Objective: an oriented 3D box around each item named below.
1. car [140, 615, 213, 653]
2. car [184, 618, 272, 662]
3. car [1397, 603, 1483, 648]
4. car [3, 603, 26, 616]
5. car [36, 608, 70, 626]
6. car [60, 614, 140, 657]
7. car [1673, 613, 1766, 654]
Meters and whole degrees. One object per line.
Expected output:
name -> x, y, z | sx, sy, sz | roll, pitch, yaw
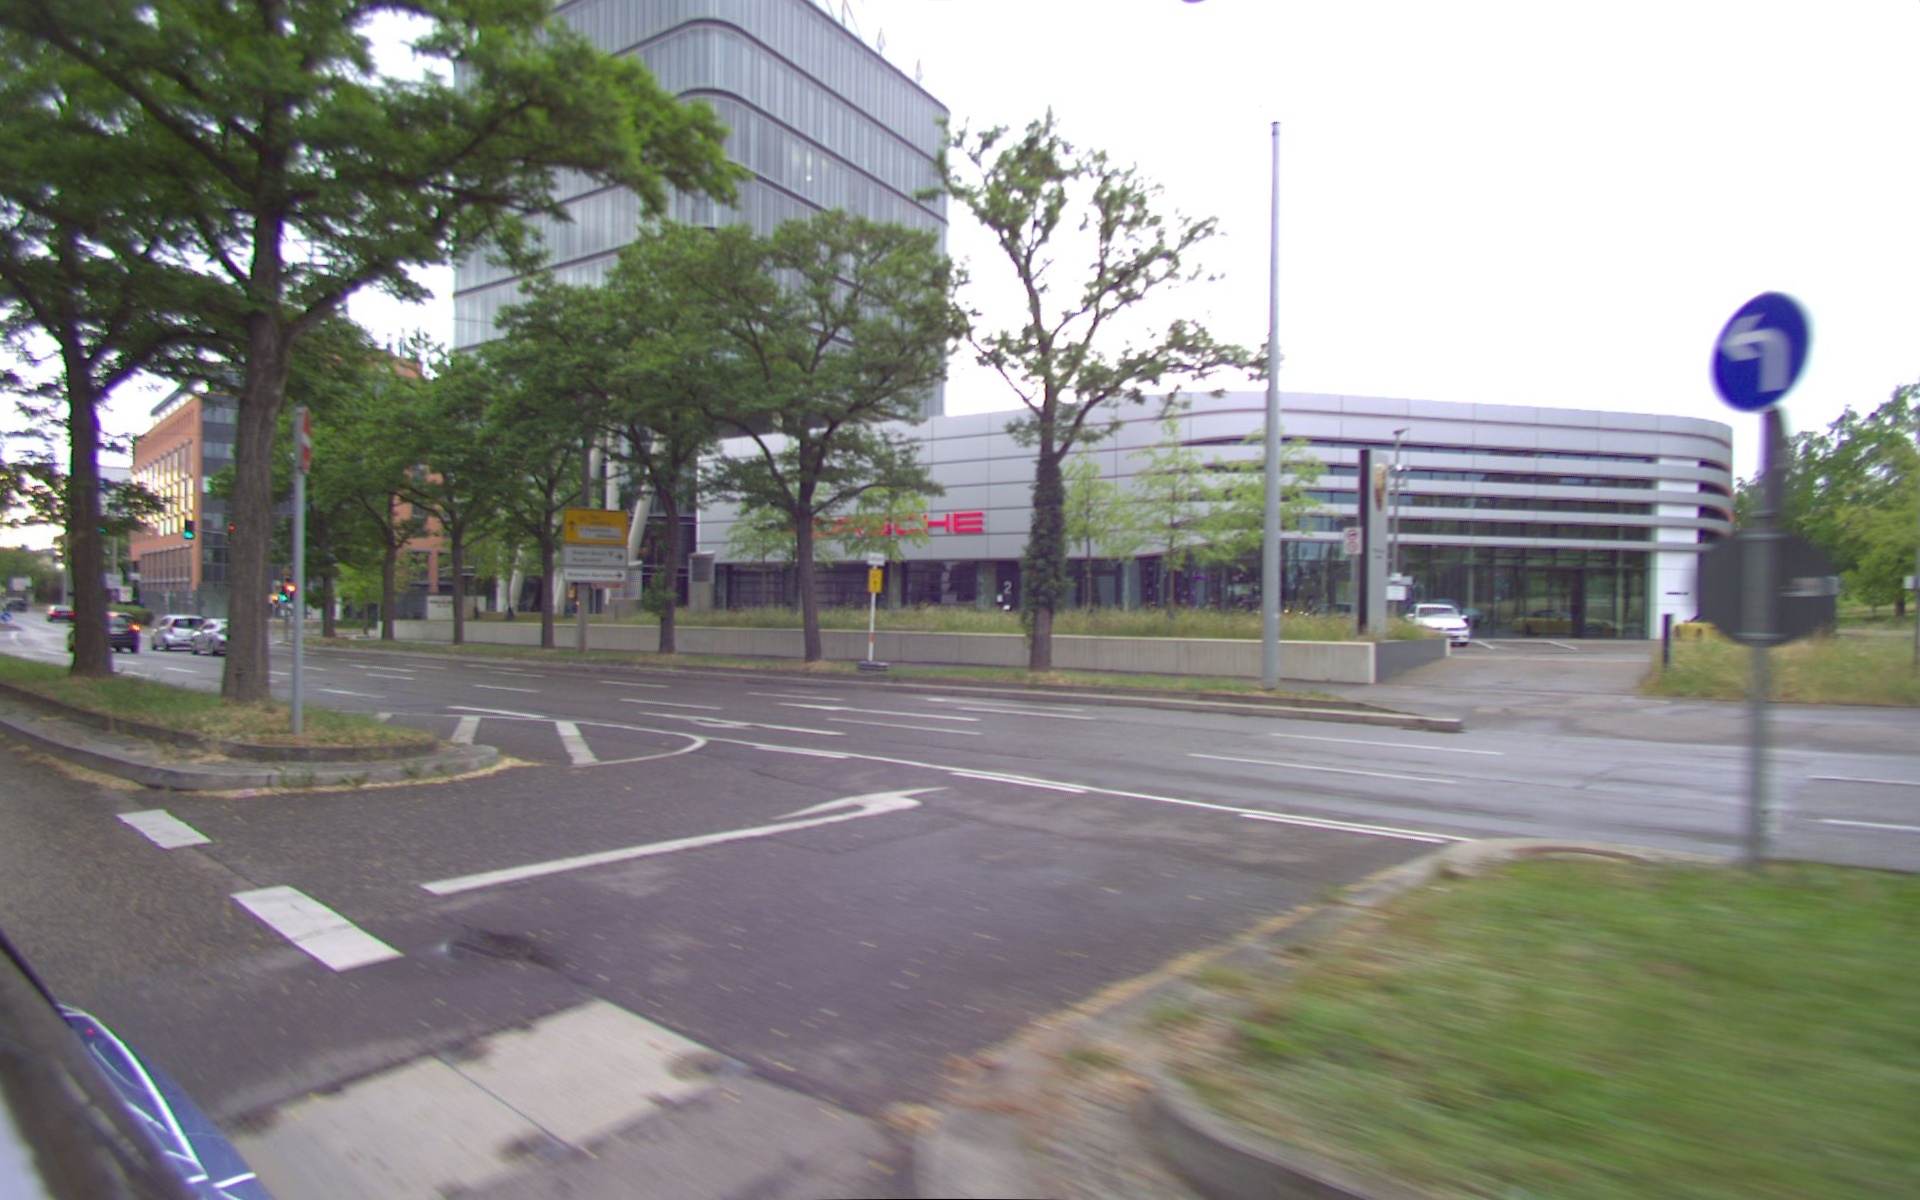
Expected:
car -> -34.960, 1.486, 45.131 | 3.998, 1.464, 1.760 | 0, 2, 41
car -> -28.688, 1.524, 39.629 | 3.998, 1.464, 1.870 | 0, 2, 41
car -> 17.242, 0.887, 36.561 | 1.759, 1.423, 3.988 | -1, 1, 10
car -> -109.834, 1.095, 117.551 | 4.001, 1.464, 1.759 | 0, 2, 44
car -> -81.922, 1.532, 91.404 | 3.998, 1.464, 1.760 | 0, 2, 41
car -> -35.206, 1.430, 41.394 | 4.171, 1.602, 1.822 | 0, -1, 41
car -> 29.073, 1.262, 38.871 | 1.606, 1.333, 3.978 | 0, 1, 17
